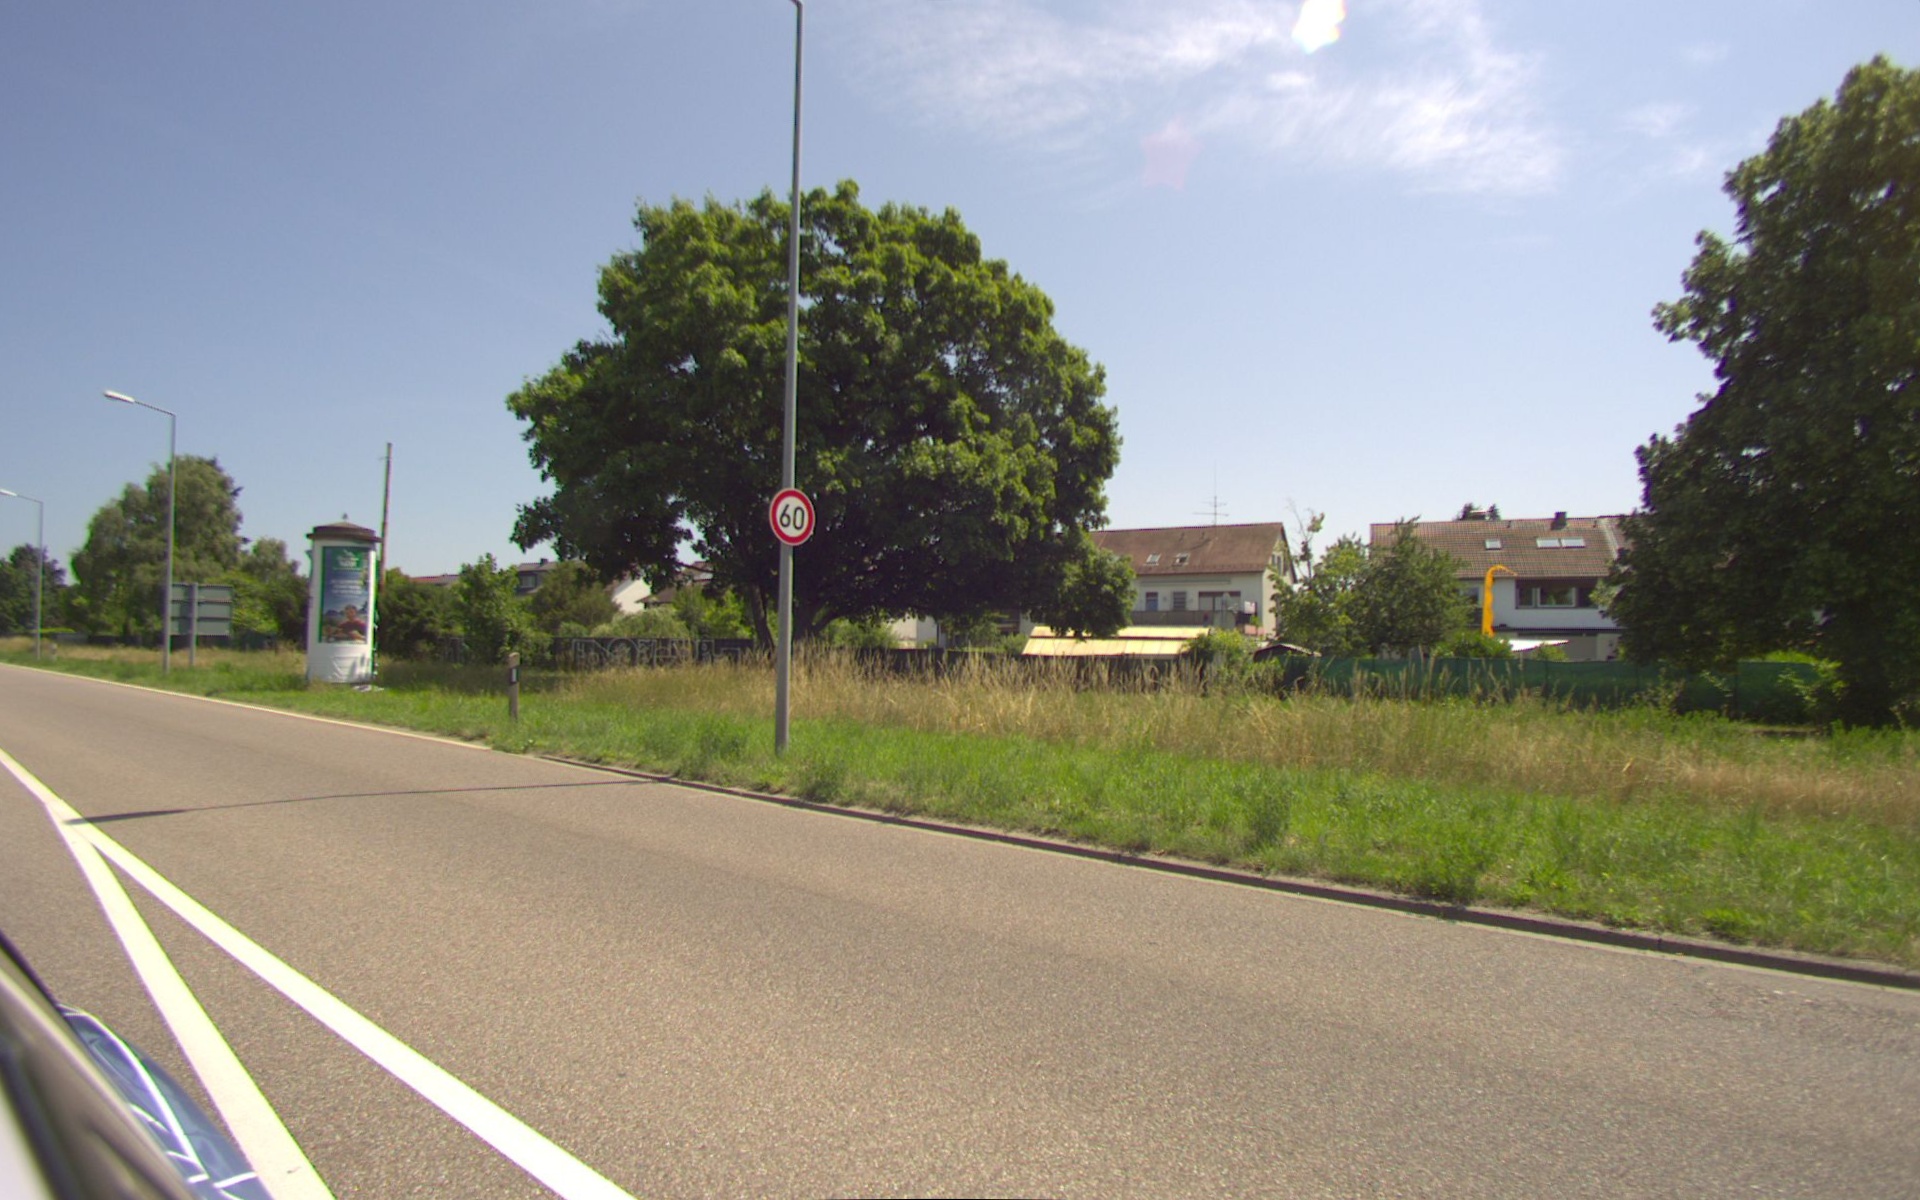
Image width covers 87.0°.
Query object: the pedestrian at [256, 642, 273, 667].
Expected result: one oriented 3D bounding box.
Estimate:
[{"bbox_3d":[-38.366,3.006,55.813,0.798,1.365,0.574,-2,-3,43],"label":"pedestrian"}]
